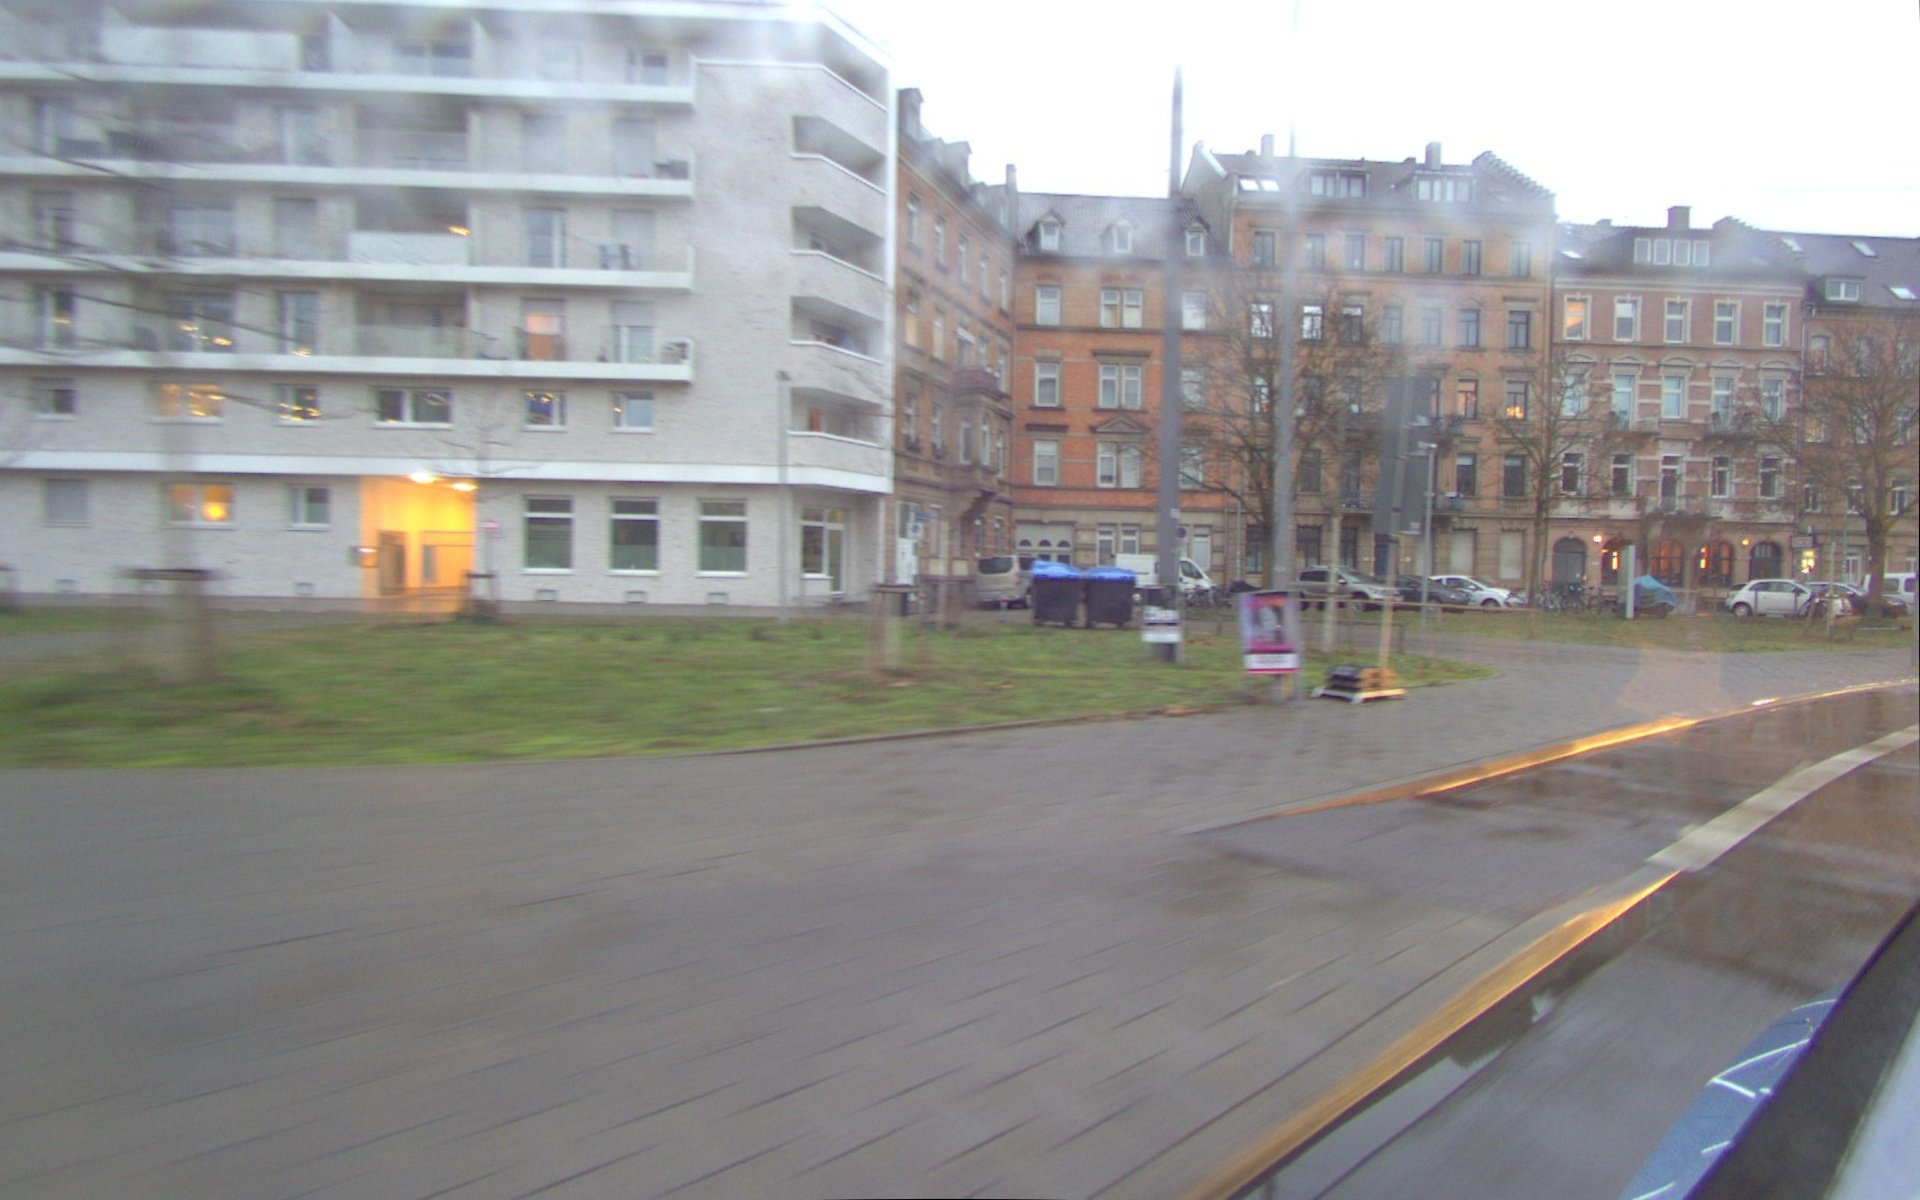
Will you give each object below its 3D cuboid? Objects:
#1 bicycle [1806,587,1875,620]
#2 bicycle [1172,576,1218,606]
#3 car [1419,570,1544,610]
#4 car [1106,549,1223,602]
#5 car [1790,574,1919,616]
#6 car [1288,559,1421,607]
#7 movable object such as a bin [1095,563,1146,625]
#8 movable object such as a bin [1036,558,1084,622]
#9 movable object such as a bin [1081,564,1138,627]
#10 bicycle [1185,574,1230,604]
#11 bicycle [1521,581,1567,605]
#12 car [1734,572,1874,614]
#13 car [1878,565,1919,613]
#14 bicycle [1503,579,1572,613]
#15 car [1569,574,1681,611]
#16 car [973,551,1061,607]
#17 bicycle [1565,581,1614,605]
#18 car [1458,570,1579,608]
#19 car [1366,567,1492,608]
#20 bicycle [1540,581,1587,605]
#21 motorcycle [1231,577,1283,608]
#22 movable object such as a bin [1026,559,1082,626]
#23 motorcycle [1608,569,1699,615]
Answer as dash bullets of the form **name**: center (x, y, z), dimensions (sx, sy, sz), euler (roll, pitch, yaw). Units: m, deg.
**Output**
- **bicycle**: center (28.036, 0.100, 32.263), dimensions (0.437, 0.942, 1.798), euler (1, 3, -5)
- **bicycle**: center (8.120, -0.331, 35.028), dimensions (0.437, 0.942, 1.799), euler (0, 4, -27)
- **car**: center (18.761, -0.398, 36.533), dimensions (1.636, 1.322, 3.690), euler (0, 2, -34)
- **car**: center (8.851, -1.076, 44.135), dimensions (4.568, 2.216, 2.003), euler (1, 1, -5)
- **car**: center (33.715, -0.227, 37.980), dimensions (1.491, 1.454, 3.691), euler (0, 2, -32)
- **car**: center (13.876, -0.638, 35.830), dimensions (1.709, 1.589, 4.158), euler (0, 2, -34)
- **movable object such as a bin**: center (4.002, -0.165, 25.293), dimensions (1.119, 1.504, 1.053), euler (1, 1, 2)
- **movable object such as a bin**: center (2.522, -0.265, 25.746), dimensions (1.119, 1.595, 1.053), euler (1, 1, 2)
- **movable object such as a bin**: center (3.557, -0.122, 24.197), dimensions (1.202, 1.450, 1.053), euler (1, 1, 2)
- **bicycle**: center (8.625, -0.390, 35.303), dimensions (0.437, 0.942, 1.799), euler (0, 4, -27)
- **bicycle**: center (22.154, -0.288, 38.425), dimensions (0.437, 0.804, 1.800), euler (1, 3, -10)
- **car**: center (31.098, -0.294, 37.384), dimensions (1.491, 1.417, 3.691), euler (0, 2, -32)
- **car**: center (37.059, -0.365, 37.377), dimensions (1.747, 1.790, 4.348), euler (0, 2, -33)
- **bicycle**: center (19.132, -0.154, 33.553), dimensions (1.881, 1.031, 0.534), euler (2, 3, 17)
- **car**: center (25.600, -0.301, 39.045), dimensions (1.491, 1.322, 3.304), euler (0, 2, -32)
- **car**: center (2.243, -0.826, 38.663), dimensions (1.921, 1.966, 4.564), euler (1, 2, 23)
- **bicycle**: center (23.985, -0.270, 38.578), dimensions (0.386, 0.827, 1.800), euler (1, 3, -13)
- **car**: center (20.812, -0.450, 37.824), dimensions (1.492, 1.322, 3.690), euler (0, 2, -34)
- **car**: center (16.485, -0.470, 35.697), dimensions (1.709, 1.322, 3.690), euler (0, 2, -34)
- **bicycle**: center (22.829, -0.266, 38.323), dimensions (0.437, 0.787, 1.800), euler (1, 3, -10)
- **motorcycle**: center (10.274, -0.271, 35.049), dimensions (0.503, 0.942, 1.797), euler (0, 4, -33)
- **movable object such as a bin**: center (2.221, -0.185, 24.025), dimensions (1.230, 1.529, 1.053), euler (1, 1, 2)
- **motorcycle**: center (22.899, -0.298, 33.468), dimensions (0.866, 1.361, 2.365), euler (0, 5, -19)
